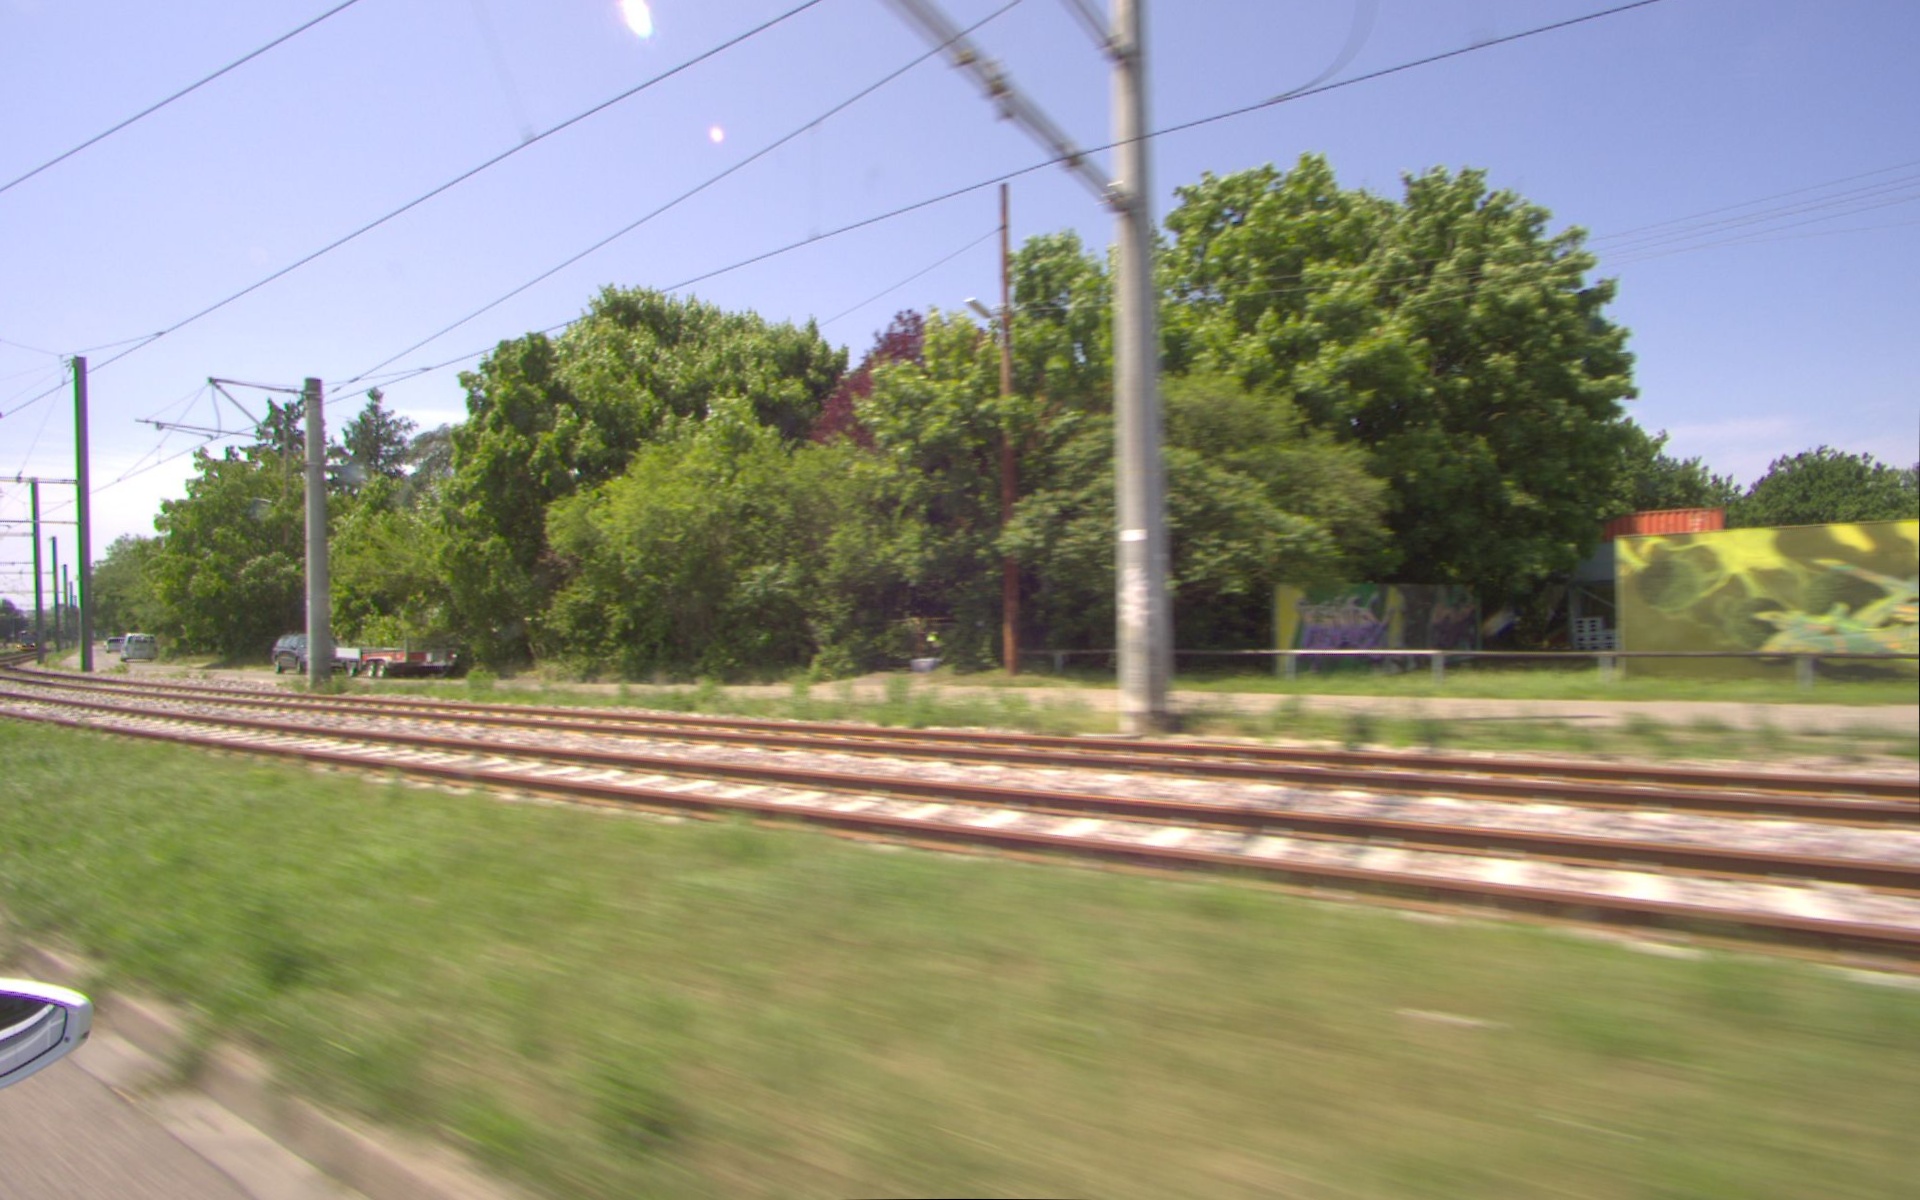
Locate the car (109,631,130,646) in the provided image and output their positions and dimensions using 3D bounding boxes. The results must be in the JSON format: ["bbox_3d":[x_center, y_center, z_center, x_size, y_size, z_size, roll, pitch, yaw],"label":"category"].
[{"bbox_3d":[-108.313,4.924,128.961,1.978,1.825,4.754,-1,-2,-41],"label":"car"}]

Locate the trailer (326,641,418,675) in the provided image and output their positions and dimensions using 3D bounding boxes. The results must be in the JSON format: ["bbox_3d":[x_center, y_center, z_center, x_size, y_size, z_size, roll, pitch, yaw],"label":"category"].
[{"bbox_3d":[-19.290,1.881,32.777,3.955,1.007,1.413,-1,-3,41],"label":"trailer"}]

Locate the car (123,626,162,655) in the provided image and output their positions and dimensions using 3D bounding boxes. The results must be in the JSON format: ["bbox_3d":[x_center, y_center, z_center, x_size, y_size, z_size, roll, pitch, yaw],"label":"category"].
[{"bbox_3d":[-57.864,2.869,70.948,2.019,1.906,5.030,-1,-1,-39],"label":"car"}]

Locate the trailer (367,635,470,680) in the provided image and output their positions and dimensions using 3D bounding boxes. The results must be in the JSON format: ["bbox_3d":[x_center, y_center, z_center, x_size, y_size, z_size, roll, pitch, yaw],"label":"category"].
[{"bbox_3d":[-16.333,1.727,30.124,3.956,1.238,1.454,-3,-2,42],"label":"trailer"}]

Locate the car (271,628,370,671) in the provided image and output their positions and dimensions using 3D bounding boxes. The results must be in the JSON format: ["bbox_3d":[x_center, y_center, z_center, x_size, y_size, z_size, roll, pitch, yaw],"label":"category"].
[{"bbox_3d":[-23.324,1.820,36.449,4.688,1.444,1.787,-3,-2,41],"label":"car"}]

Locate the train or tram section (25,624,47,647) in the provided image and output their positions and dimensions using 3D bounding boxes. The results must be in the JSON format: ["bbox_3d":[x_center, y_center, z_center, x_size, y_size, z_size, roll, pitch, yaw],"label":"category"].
[{"bbox_3d":[-164.195,6.437,178.034,2.410,3.814,11.462,-2,-1,-41],"label":"train or tram section"}]
